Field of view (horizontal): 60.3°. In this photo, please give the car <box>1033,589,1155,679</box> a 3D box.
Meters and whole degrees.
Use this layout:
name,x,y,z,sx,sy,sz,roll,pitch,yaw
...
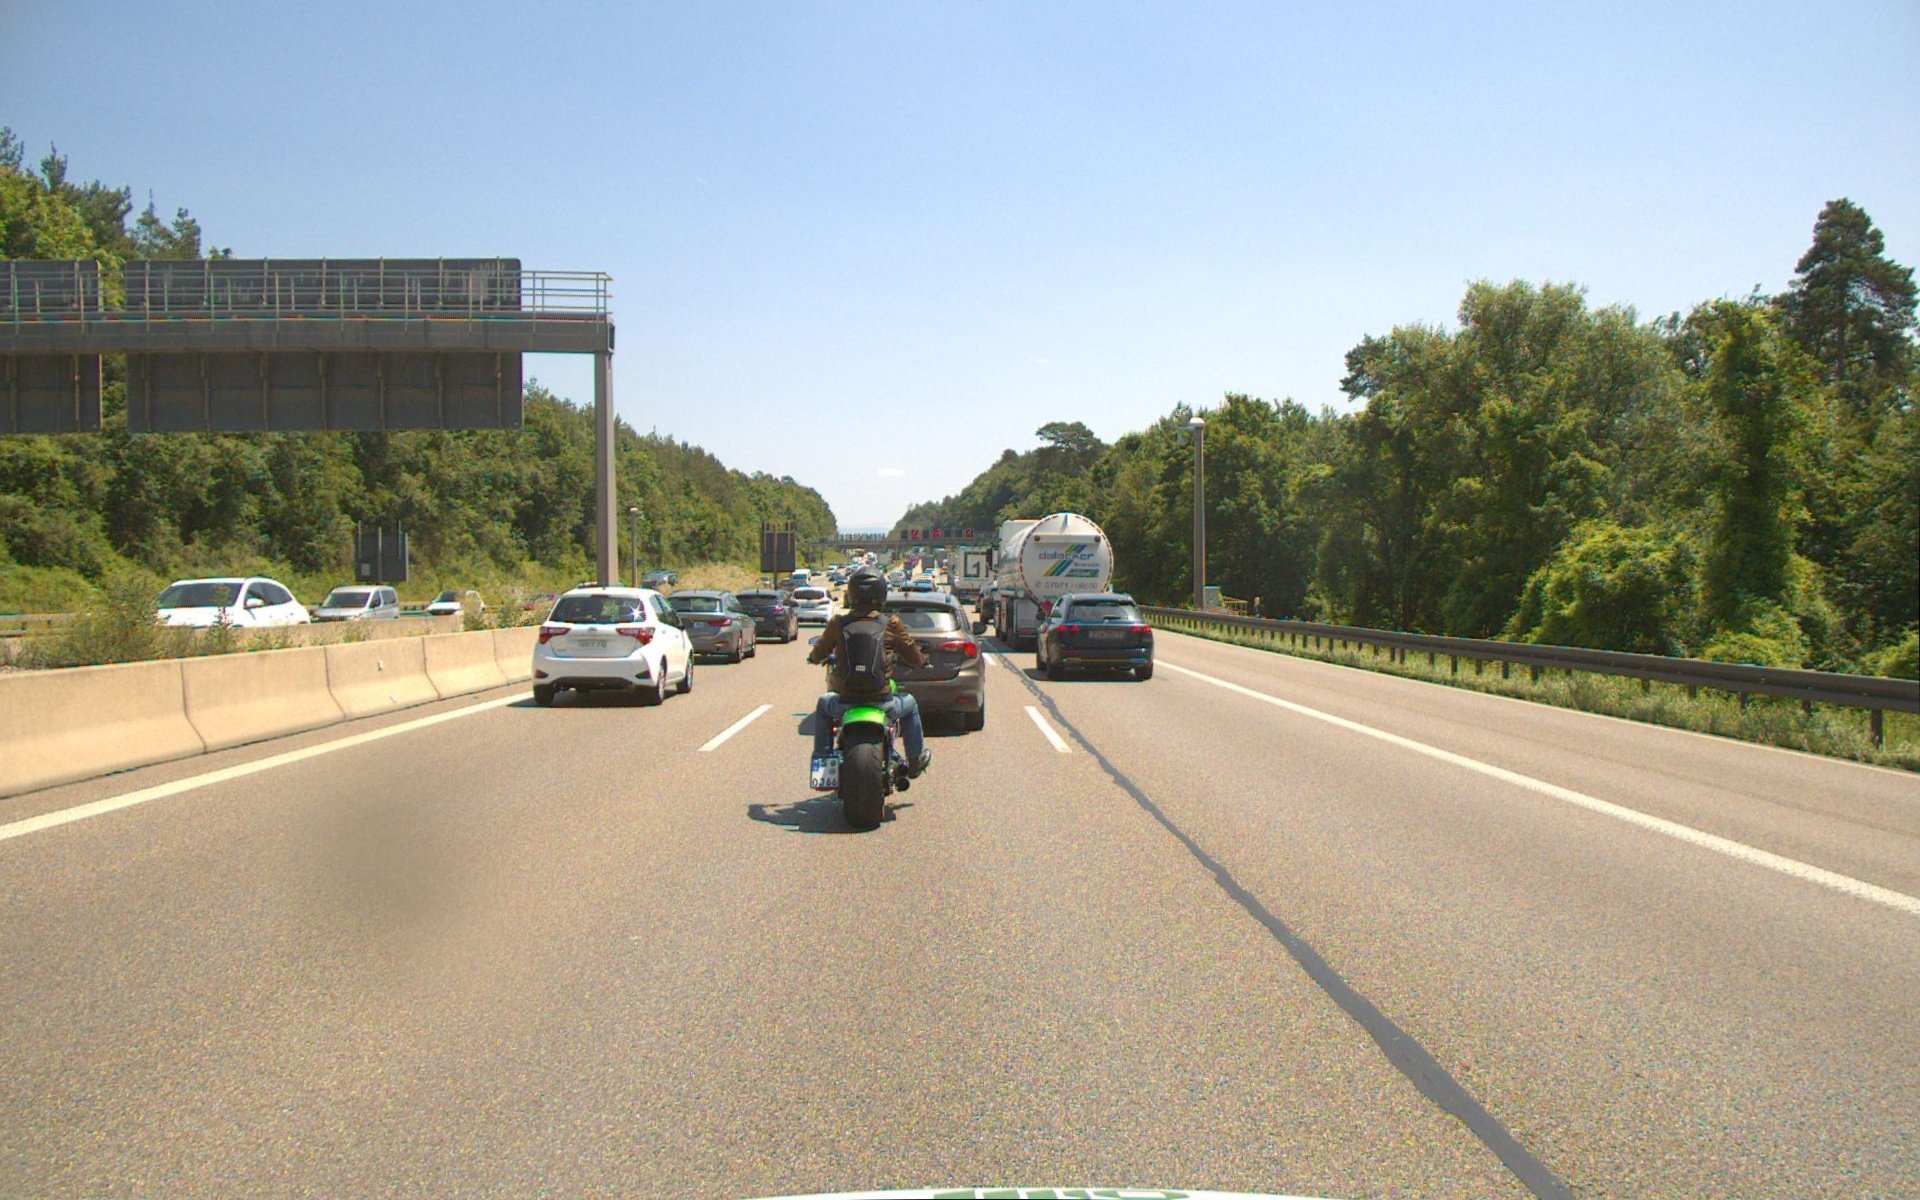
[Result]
name,x,y,z,sx,sy,sz,roll,pitch,yaw
car,2.353,0.608,30.080,1.756,1.484,4.622,1,-1,-1

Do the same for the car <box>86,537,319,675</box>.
name,x,y,z,sx,sy,sz,roll,pitch,yaw
car,-12.241,0.125,27.052,1.953,2.049,4.191,1,-1,-2

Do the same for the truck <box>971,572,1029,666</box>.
name,x,y,z,sx,sy,sz,roll,pitch,yaw
truck,2.002,0.877,86.053,2.340,4.542,10.865,0,0,-2

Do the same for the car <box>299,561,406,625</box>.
name,x,y,z,sx,sy,sz,roll,pitch,yaw
car,-20.455,-0.183,55.866,1.953,2.049,4.472,1,-1,0

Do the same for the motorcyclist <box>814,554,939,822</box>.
name,x,y,z,sx,sy,sz,roll,pitch,yaw
motorcyclist,-0.548,0.572,11.149,0.782,1.717,1.016,1,-1,-1

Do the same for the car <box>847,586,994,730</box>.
name,x,y,z,sx,sy,sz,roll,pitch,yaw
car,-0.443,0.606,19.110,1.509,1.475,3.999,1,0,-1

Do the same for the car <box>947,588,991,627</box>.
name,x,y,z,sx,sy,sz,roll,pitch,yaw
car,0.350,0.332,69.024,1.740,1.554,3.999,1,-1,-1

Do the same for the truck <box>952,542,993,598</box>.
name,x,y,z,sx,sy,sz,roll,pitch,yaw
truck,0.973,-2.138,121.050,2.794,3.888,7.188,1,-1,2

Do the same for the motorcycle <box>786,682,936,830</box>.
name,x,y,z,sx,sy,sz,roll,pitch,yaw
motorcycle,-0.633,1.021,11.386,0.917,0.807,2.298,1,0,-1

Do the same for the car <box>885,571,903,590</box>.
name,x,y,z,sx,sy,sz,roll,pitch,yaw
car,-7.560,-2.215,189.296,1.953,2.049,3.999,0,0,-1

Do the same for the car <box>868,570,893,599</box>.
name,x,y,z,sx,sy,sz,roll,pitch,yaw
car,-5.742,-1.089,119.473,1.627,2.013,3.999,0,-1,-1

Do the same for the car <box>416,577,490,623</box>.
name,x,y,z,sx,sy,sz,roll,pitch,yaw
car,-23.453,0.021,76.703,2.080,2.049,4.363,1,-1,-1

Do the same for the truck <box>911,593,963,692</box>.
name,x,y,z,sx,sy,sz,roll,pitch,yaw
truck,-1.227,1.940,82.169,2.340,4.542,10.865,0,0,-2

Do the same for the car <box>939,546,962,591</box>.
name,x,y,z,sx,sy,sz,roll,pitch,yaw
car,-0.945,-2.953,159.108,2.123,3.961,9.327,1,-1,-1

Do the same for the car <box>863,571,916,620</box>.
name,x,y,z,sx,sy,sz,roll,pitch,yaw
car,-2.672,-0.145,63.386,1.953,1.806,3.998,1,-1,-2

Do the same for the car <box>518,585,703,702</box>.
name,x,y,z,sx,sy,sz,roll,pitch,yaw
car,-4.676,0.577,22.667,1.740,1.436,3.999,1,-1,-1

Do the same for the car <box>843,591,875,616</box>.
name,x,y,z,sx,sy,sz,roll,pitch,yaw
car,-5.996,0.183,98.606,1.728,1.467,3.999,0,0,-1

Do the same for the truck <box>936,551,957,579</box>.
name,x,y,z,sx,sy,sz,roll,pitch,yaw
truck,-1.829,-4.651,222.062,2.641,3.465,10.475,0,0,-1

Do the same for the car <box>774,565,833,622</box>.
name,x,y,z,sx,sy,sz,roll,pitch,yaw
car,-5.908,-0.206,62.959,1.953,2.049,3.998,1,-1,-2

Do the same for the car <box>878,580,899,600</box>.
name,x,y,z,sx,sy,sz,roll,pitch,yaw
car,-5.963,-0.854,137.956,1.627,1.627,3.999,0,0,-1

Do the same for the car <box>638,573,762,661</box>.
name,x,y,z,sx,sy,sz,roll,pitch,yaw
car,-5.366,0.369,34.632,1.953,1.713,4.328,1,-1,-1

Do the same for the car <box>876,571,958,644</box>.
name,x,y,z,sx,sy,sz,roll,pitch,yaw
car,-1.099,0.206,41.799,1.953,1.741,3.998,1,-1,-2

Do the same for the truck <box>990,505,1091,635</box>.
name,x,y,z,sx,sy,sz,roll,pitch,yaw
truck,2.381,-0.808,51.107,2.770,3.735,6.428,1,-1,0

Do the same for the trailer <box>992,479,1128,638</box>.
name,x,y,z,sx,sy,sz,roll,pitch,yaw
trailer,2.481,-0.909,44.554,2.770,3.735,10.729,1,-1,-1

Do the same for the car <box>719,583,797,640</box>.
name,x,y,z,sx,sy,sz,roll,pitch,yaw
car,-5.590,0.336,46.166,1.954,1.490,3.996,1,-1,-4

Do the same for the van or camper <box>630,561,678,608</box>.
name,x,y,z,sx,sy,sz,roll,pitch,yaw
van or camper,-20.033,-0.993,108.546,2.110,2.909,6.650,1,-1,-2
